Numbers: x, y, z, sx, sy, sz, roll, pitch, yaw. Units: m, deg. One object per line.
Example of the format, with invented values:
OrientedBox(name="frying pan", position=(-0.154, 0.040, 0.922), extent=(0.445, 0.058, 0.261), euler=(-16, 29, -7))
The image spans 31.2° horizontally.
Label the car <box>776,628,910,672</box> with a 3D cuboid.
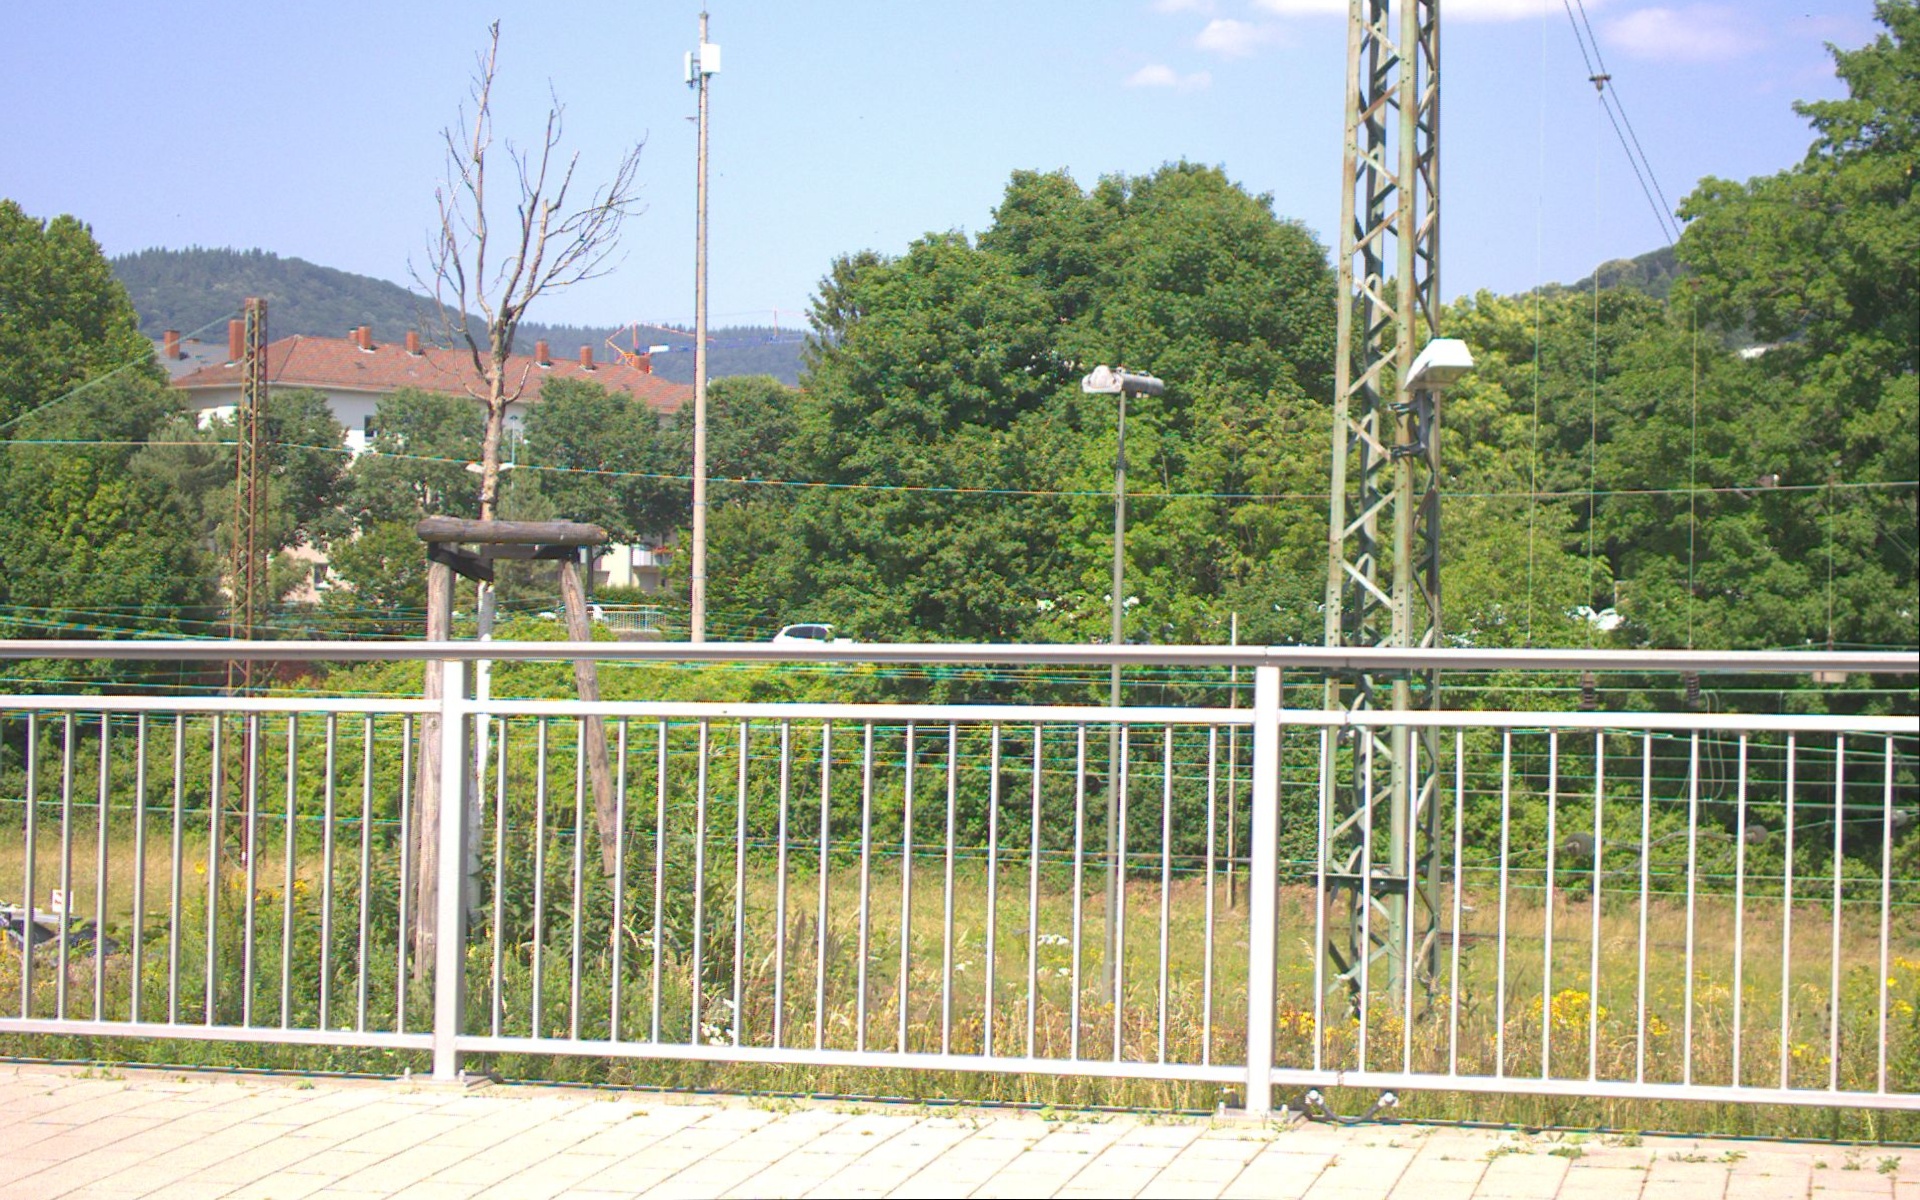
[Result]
OrientedBox(name="car", position=(-3.794, 1.606, 111.425), extent=(4.313, 1.362, 1.861), euler=(0, 0, 44))
